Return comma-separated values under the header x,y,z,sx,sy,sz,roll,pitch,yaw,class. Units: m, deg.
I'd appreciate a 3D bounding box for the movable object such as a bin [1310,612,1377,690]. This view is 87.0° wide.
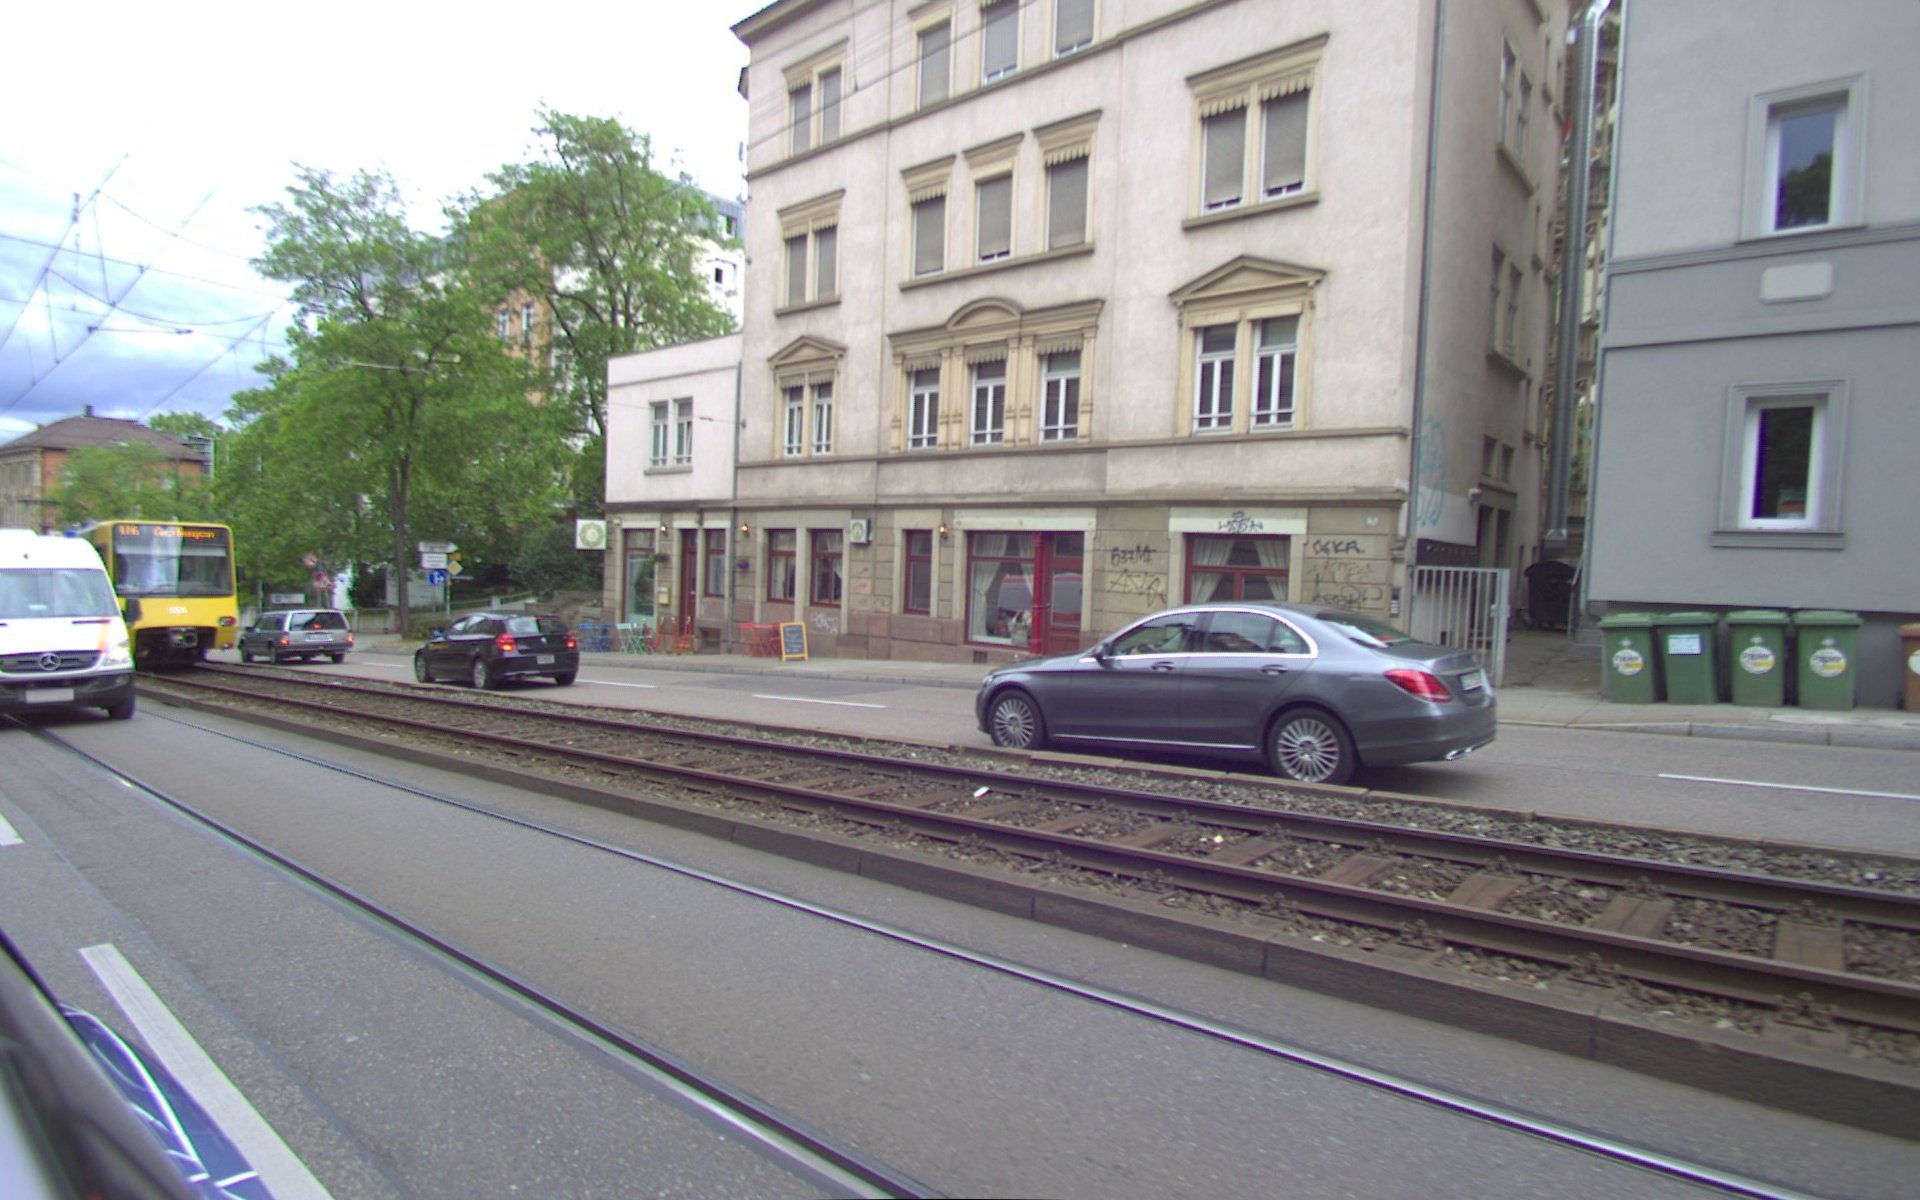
x,y,z,sx,sy,sz,roll,pitch,yaw,class
5.507,0.713,14.521,0.681,1.082,0.709,-1,-1,41,movable object such as a bin

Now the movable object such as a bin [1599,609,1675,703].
x,y,z,sx,sy,sz,roll,pitch,yaw,class
8.189,0.655,12.239,0.671,1.082,0.720,-1,-1,41,movable object such as a bin

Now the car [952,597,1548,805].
x,y,z,sx,sy,sz,roll,pitch,yaw,class
2.296,0.697,8.939,4.763,1.371,1.792,-1,-1,41,car

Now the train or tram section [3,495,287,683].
x,y,z,sx,sy,sz,roll,pitch,yaw,class
-22.918,-0.114,27.565,18.748,3.753,2.846,-1,1,42,train or tram section

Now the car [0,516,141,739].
x,y,z,sx,sy,sz,roll,pitch,yaw,class
-13.641,0.393,14.579,5.853,2.720,2.012,-2,-1,43,car

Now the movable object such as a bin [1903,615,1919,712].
x,y,z,sx,sy,sz,roll,pitch,yaw,class
10.270,0.655,10.493,0.676,0.992,0.616,-1,-1,41,movable object such as a bin

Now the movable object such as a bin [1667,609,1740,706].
x,y,z,sx,sy,sz,roll,pitch,yaw,class
8.631,0.646,11.749,0.606,1.082,0.735,-1,-1,41,movable object such as a bin

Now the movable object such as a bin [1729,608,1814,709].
x,y,z,sx,sy,sz,roll,pitch,yaw,class
9.128,0.634,11.385,0.697,1.082,0.816,-1,-1,41,movable object such as a bin

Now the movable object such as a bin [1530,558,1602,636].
x,y,z,sx,sy,sz,roll,pitch,yaw,class
12.184,-0.088,20.361,1.016,1.487,0.930,4,5,44,movable object such as a bin

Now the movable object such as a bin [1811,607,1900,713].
x,y,z,sx,sy,sz,roll,pitch,yaw,class
9.656,0.626,10.930,0.676,1.082,0.816,-1,-1,41,movable object such as a bin

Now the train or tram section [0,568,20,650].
x,y,z,sx,sy,sz,roll,pitch,yaw,class
-51.664,0.595,51.461,18.679,3.753,2.849,-1,1,39,train or tram section

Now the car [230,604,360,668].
x,y,z,sx,sy,sz,roll,pitch,yaw,class
-18.489,0.955,28.078,4.237,1.608,1.973,-1,-1,41,car

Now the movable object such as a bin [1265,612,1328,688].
x,y,z,sx,sy,sz,roll,pitch,yaw,class
4.998,0.722,15.028,0.676,1.082,0.679,-1,-1,41,movable object such as a bin

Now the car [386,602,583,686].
x,y,z,sx,sy,sz,roll,pitch,yaw,class
-8.884,0.758,18.764,4.160,1.374,1.811,-1,-1,41,car
